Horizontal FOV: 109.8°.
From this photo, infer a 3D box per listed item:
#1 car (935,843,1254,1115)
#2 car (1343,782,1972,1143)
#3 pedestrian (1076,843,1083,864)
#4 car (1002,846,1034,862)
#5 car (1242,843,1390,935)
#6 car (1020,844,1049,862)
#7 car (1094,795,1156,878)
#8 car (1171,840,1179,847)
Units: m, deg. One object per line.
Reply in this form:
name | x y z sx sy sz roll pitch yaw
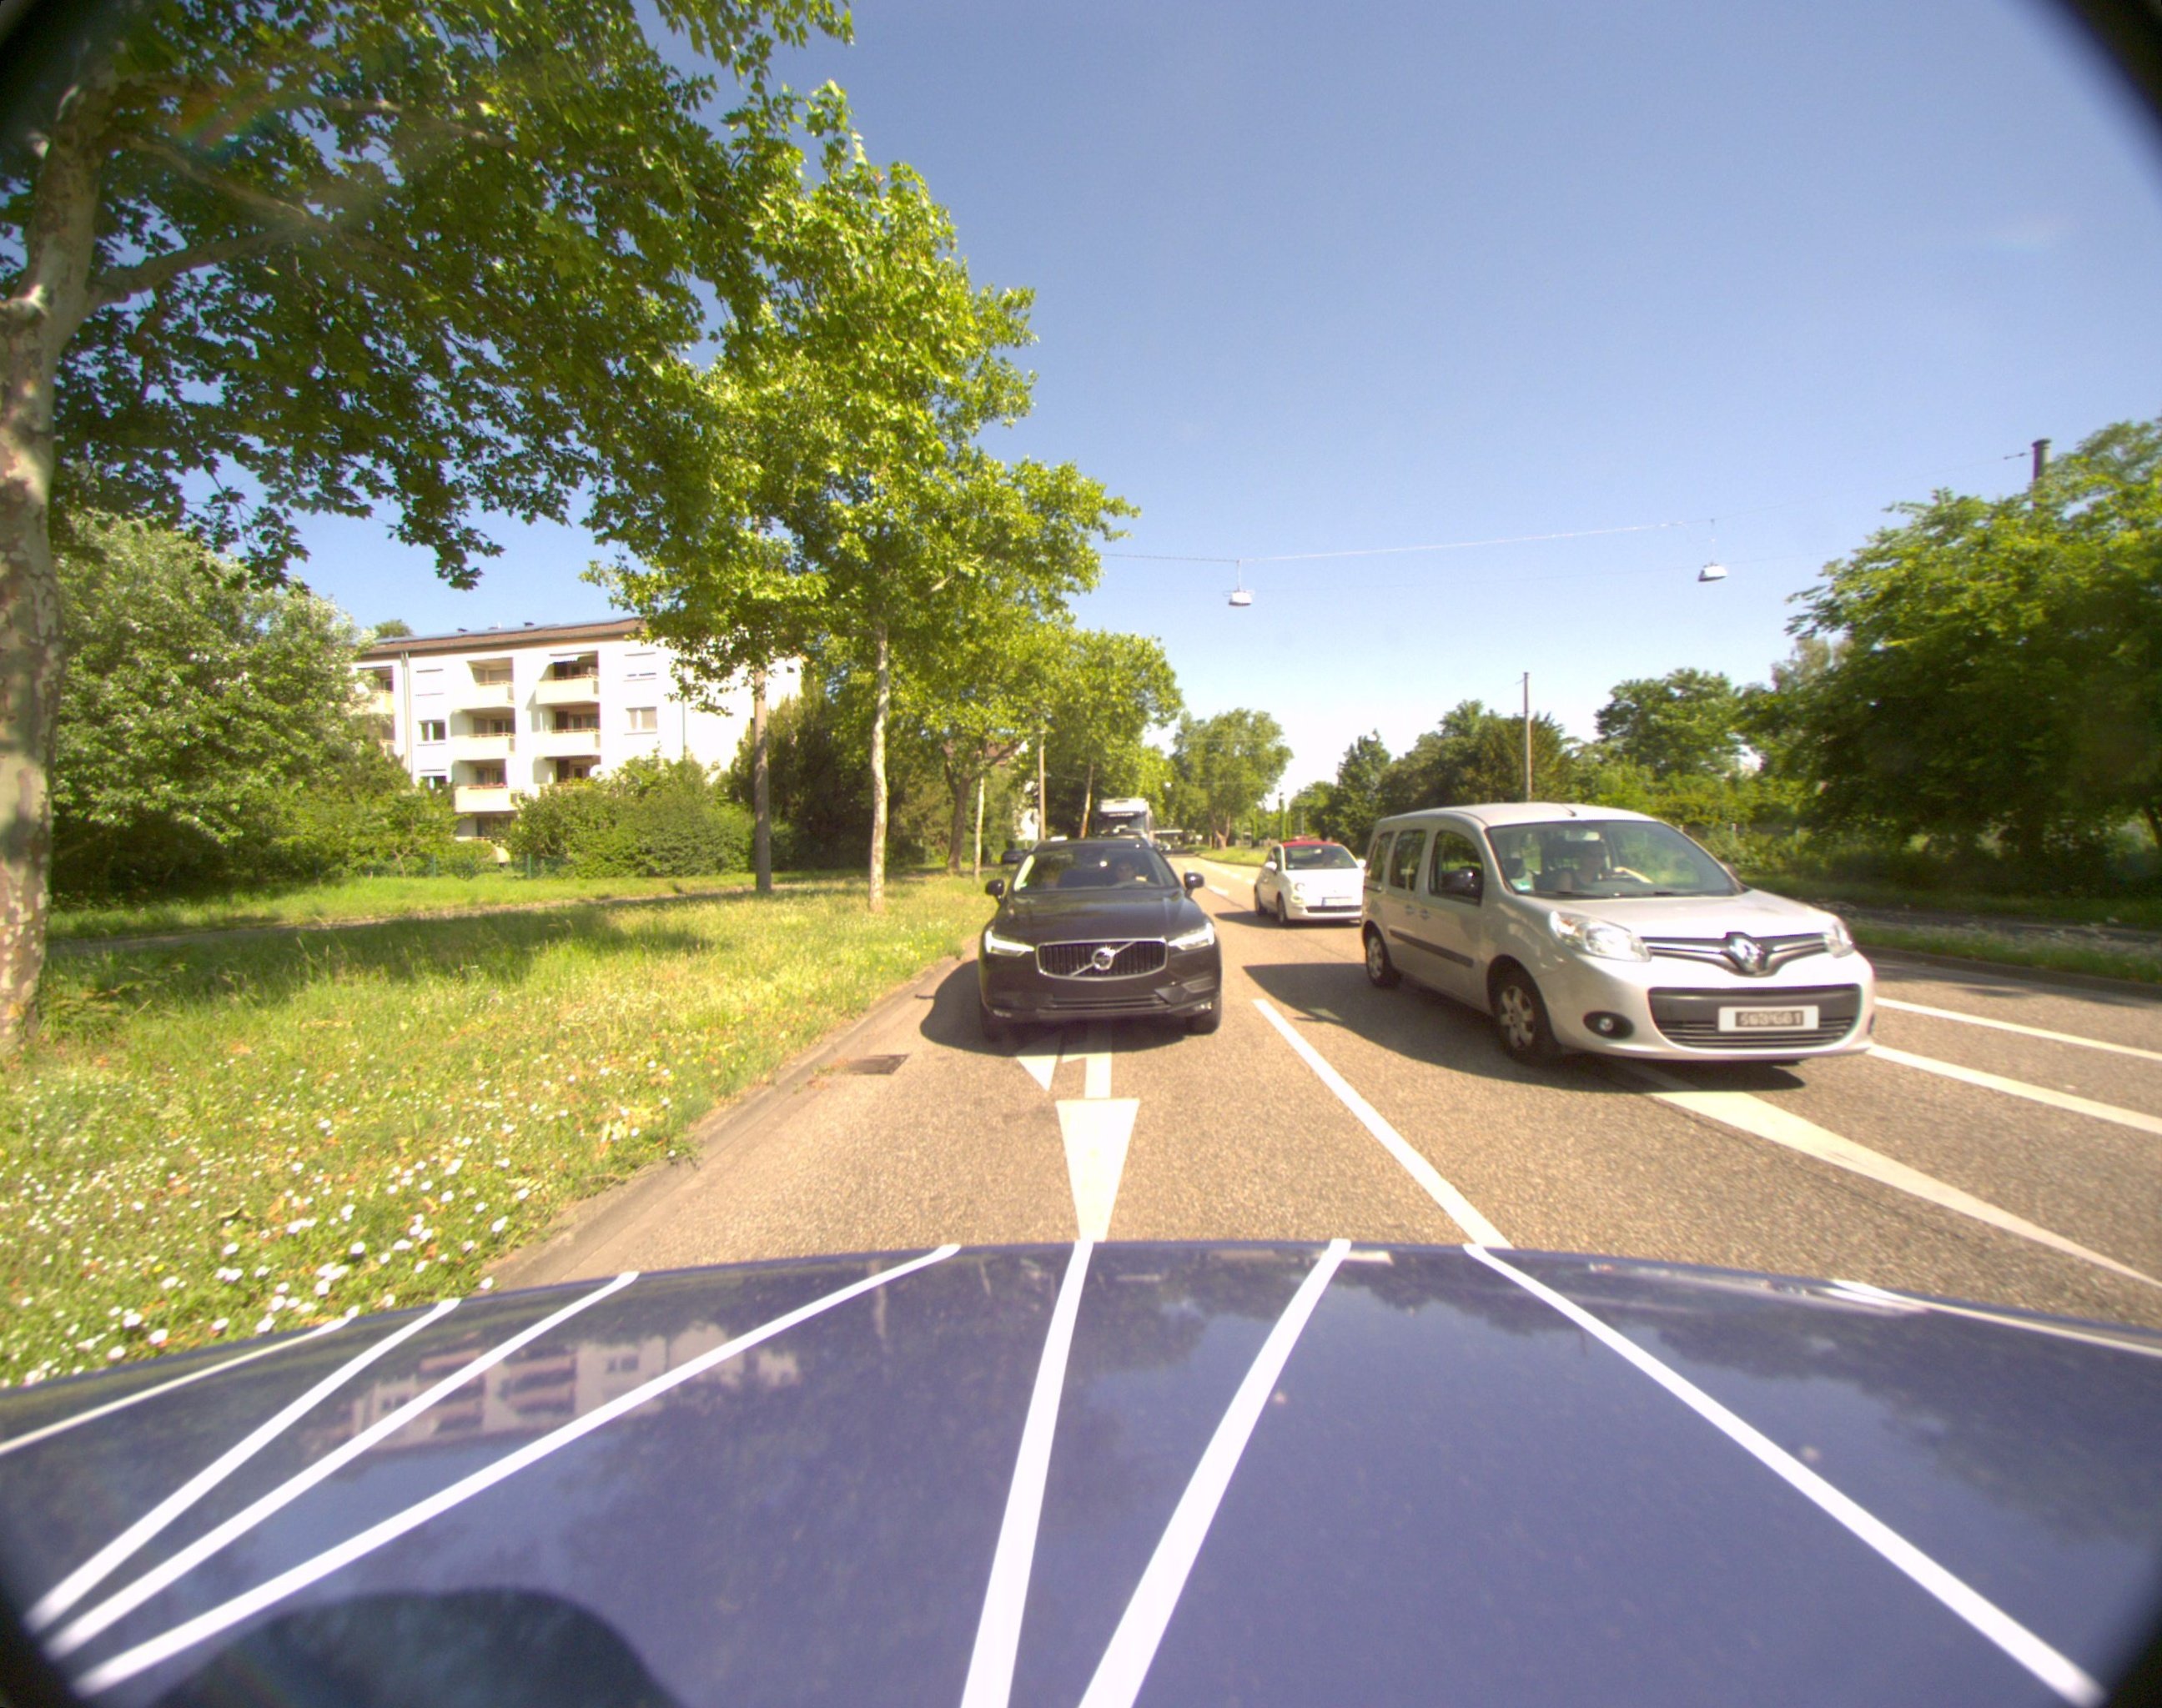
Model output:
car | 0.140 0.741 7.094 1.904 1.606 4.872 -2 1 1
car | 3.699 0.536 6.089 1.876 1.829 4.375 -1 1 3
pedestrian | -0.120 -0.055 75.746 0.639 2.002 0.480 0 2 10
car | -5.797 -0.009 70.694 1.504 1.364 4.094 0 1 17
car | 4.329 0.551 14.687 1.689 1.482 4.375 -1 1 3
car | -4.599 -0.123 76.067 1.504 1.633 4.094 0 1 17
car | 2.204 -0.894 39.254 2.902 3.898 7.141 0 1 2
car | 26.605 -2.943 214.972 1.996 2.002 4.004 0 1 13
